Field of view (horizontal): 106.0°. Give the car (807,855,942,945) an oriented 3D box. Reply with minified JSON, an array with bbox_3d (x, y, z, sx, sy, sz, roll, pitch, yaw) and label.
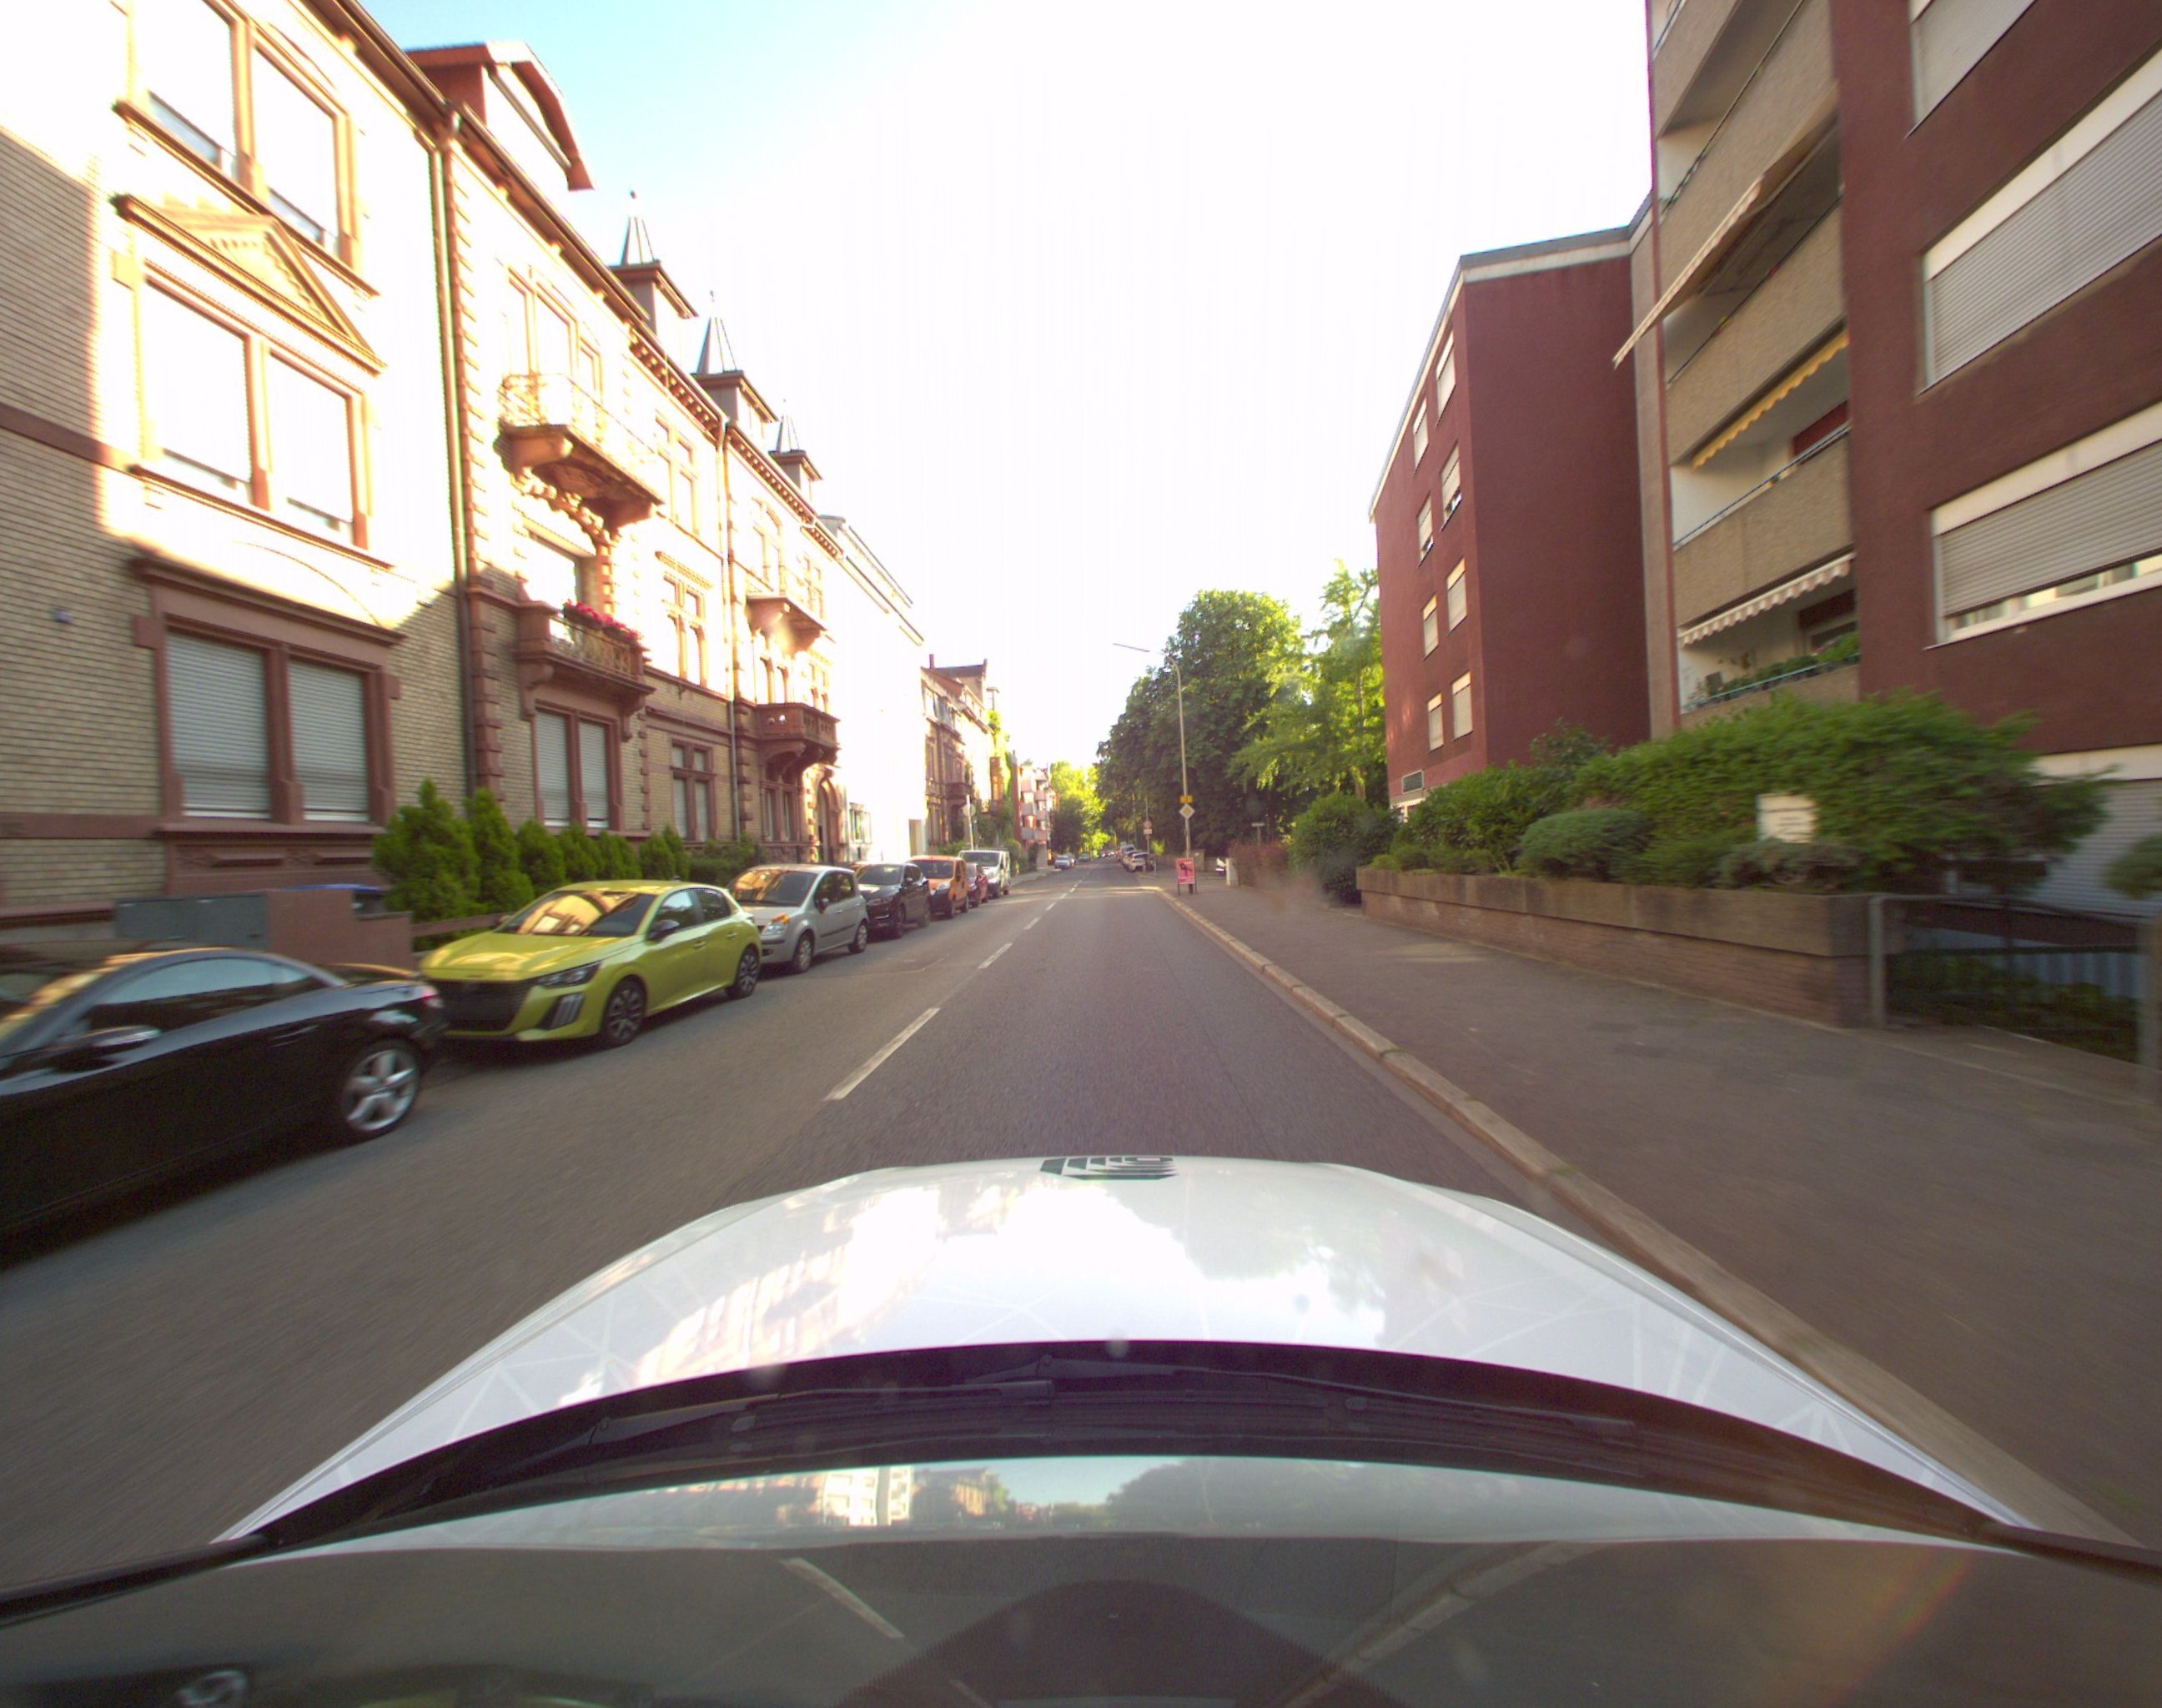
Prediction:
[{"bbox_3d":[-4.500,0.919,18.464,1.695,1.707,4.443,-2,0,3],"label":"car"}]

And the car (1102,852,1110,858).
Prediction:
[{"bbox_3d":[7.155,0.202,233.108,1.986,1.491,4.473,-3,1,2],"label":"car"}]

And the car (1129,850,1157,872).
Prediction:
[{"bbox_3d":[4.777,0.505,62.966,1.985,1.517,4.004,-4,1,3],"label":"car"}]

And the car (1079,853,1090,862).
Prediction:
[{"bbox_3d":[0.633,0.677,162.230,1.986,1.491,4.473,-3,1,2],"label":"car"}]

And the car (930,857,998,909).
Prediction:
[{"bbox_3d":[-4.038,0.948,28.750,1.696,1.619,4.118,-2,0,1],"label":"car"}]

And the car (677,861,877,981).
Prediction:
[{"bbox_3d":[-4.735,0.956,13.269,1.695,1.584,3.638,-2,0,3],"label":"car"}]

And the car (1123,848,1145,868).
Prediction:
[{"bbox_3d":[5.163,0.359,79.237,1.985,1.737,4.004,-3,1,3],"label":"car"}]

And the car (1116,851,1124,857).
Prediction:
[{"bbox_3d":[10.620,-0.020,222.212,1.988,1.491,4.468,-4,1,-1],"label":"car"}]

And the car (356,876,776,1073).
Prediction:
[{"bbox_3d":[-4.934,1.028,8.616,1.695,1.503,4.075,-2,-1,3],"label":"car"}]

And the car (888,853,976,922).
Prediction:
[{"bbox_3d":[-4.154,0.881,23.258,1.696,1.738,3.857,-2,0,1],"label":"car"}]

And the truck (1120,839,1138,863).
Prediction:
[{"bbox_3d":[6.065,-0.380,104.070,1.986,2.896,4.472,-4,1,1],"label":"truck"}]

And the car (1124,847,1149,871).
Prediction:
[{"bbox_3d":[4.658,0.408,68.563,1.985,1.737,4.004,-3,1,3],"label":"car"}]

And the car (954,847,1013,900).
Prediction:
[{"bbox_3d":[-3.999,0.736,34.141,1.787,2.010,4.698,-2,0,1],"label":"car"}]

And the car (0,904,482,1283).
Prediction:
[{"bbox_3d":[-5.220,1.077,3.882,1.695,1.366,3.862,-2,0,3],"label":"car"}]

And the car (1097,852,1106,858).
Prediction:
[{"bbox_3d":[5.176,0.223,203.859,1.986,1.491,4.473,-3,1,2],"label":"car"}]

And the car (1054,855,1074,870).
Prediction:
[{"bbox_3d":[-1.968,0.932,95.162,1.986,1.491,4.473,-3,1,2],"label":"car"}]

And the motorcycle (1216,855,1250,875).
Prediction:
[{"bbox_3d":[9.026,0.655,48.522,1.897,1.112,0.791,-2,1,4],"label":"motorcycle"}]
